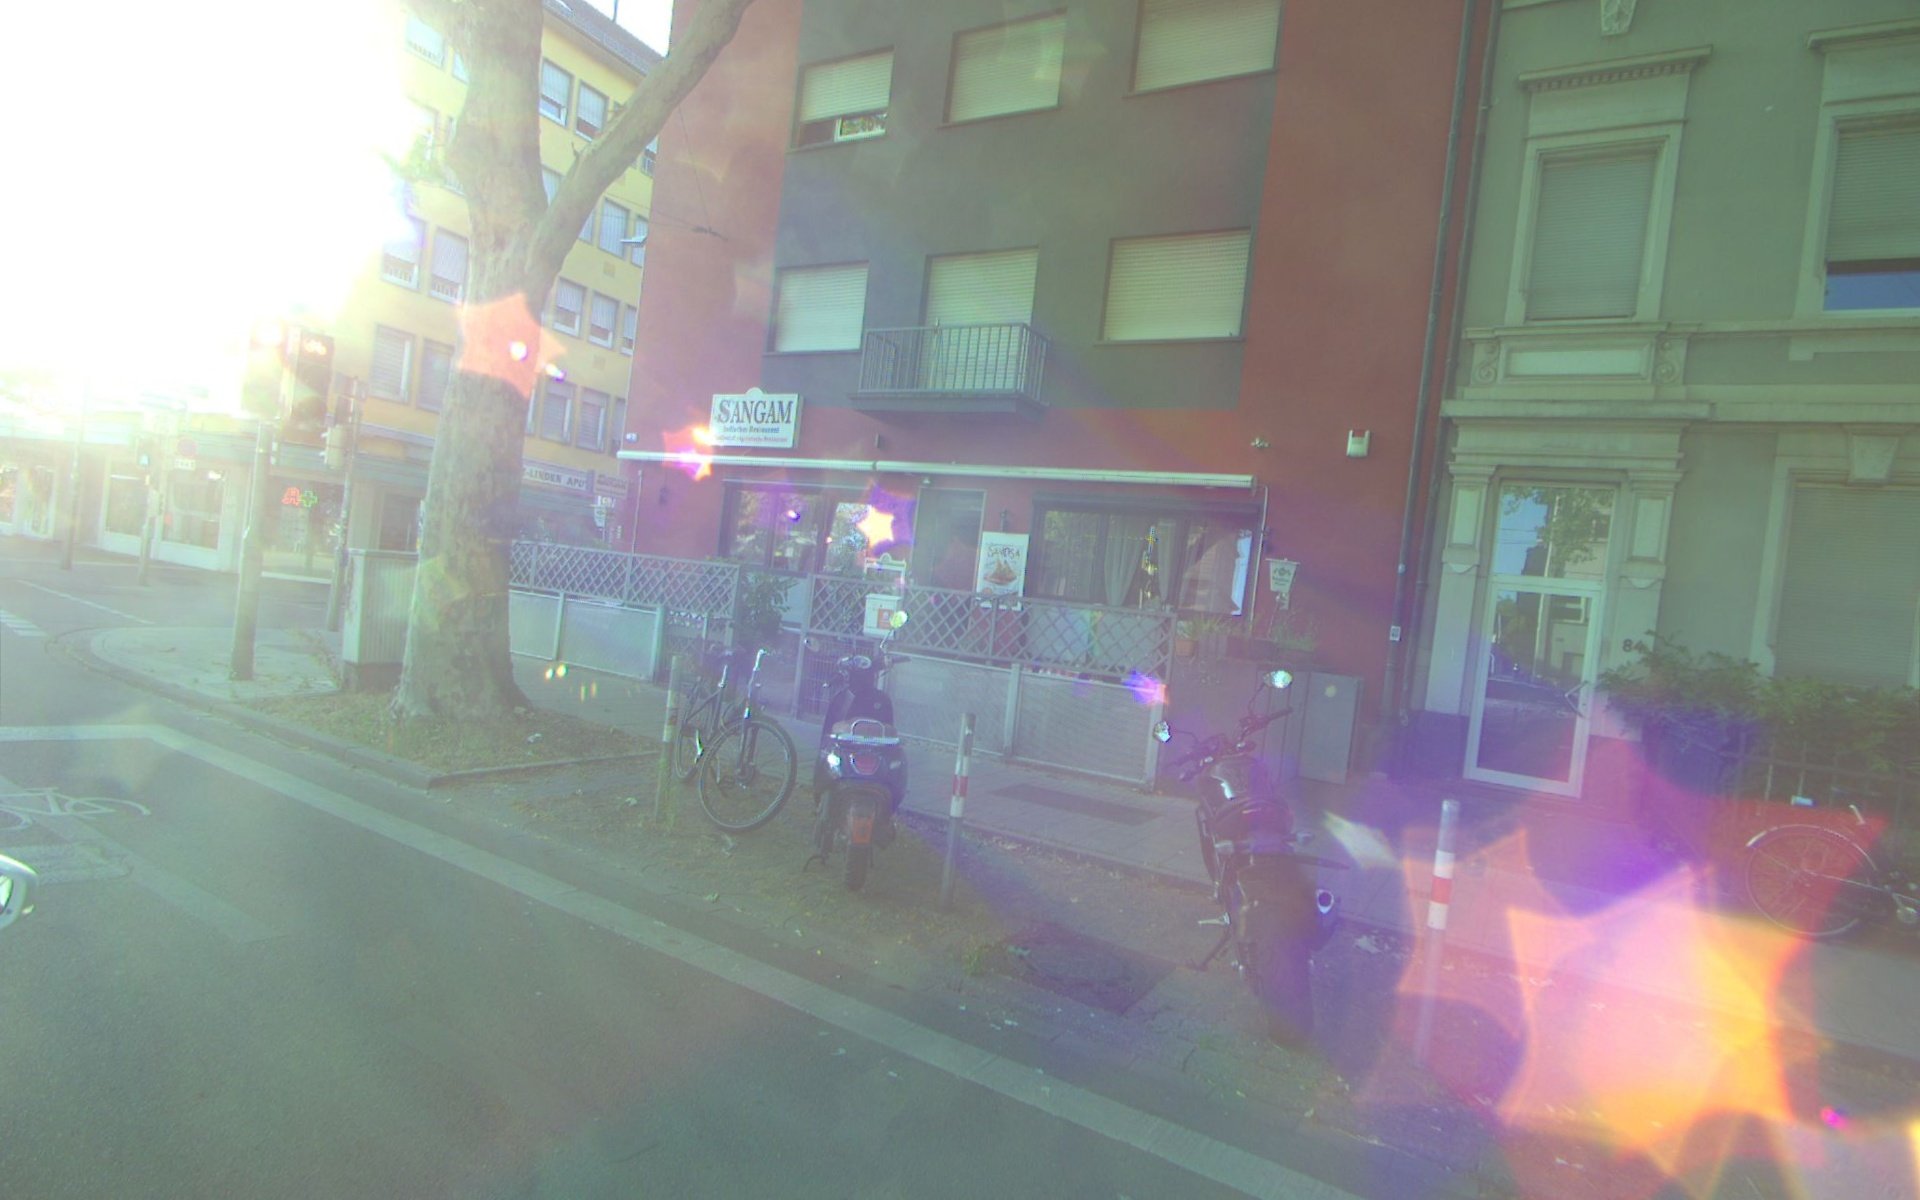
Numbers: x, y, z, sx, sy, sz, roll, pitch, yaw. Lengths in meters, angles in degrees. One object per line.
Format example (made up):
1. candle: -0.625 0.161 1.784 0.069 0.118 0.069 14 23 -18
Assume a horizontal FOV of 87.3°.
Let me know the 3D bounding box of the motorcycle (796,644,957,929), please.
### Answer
1. motorcycle: -0.544 0.917 5.654 0.591 1.166 1.994 6 0 -10

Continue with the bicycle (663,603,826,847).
1. bicycle: -1.493 0.743 6.680 0.686 1.219 1.837 8 2 -20

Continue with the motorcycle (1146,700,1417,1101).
1. motorcycle: 1.316 1.154 4.619 0.752 1.077 2.212 7 2 9

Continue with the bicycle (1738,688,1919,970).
1. bicycle: 5.864 1.375 5.505 2.356 1.443 0.608 6 -1 32
